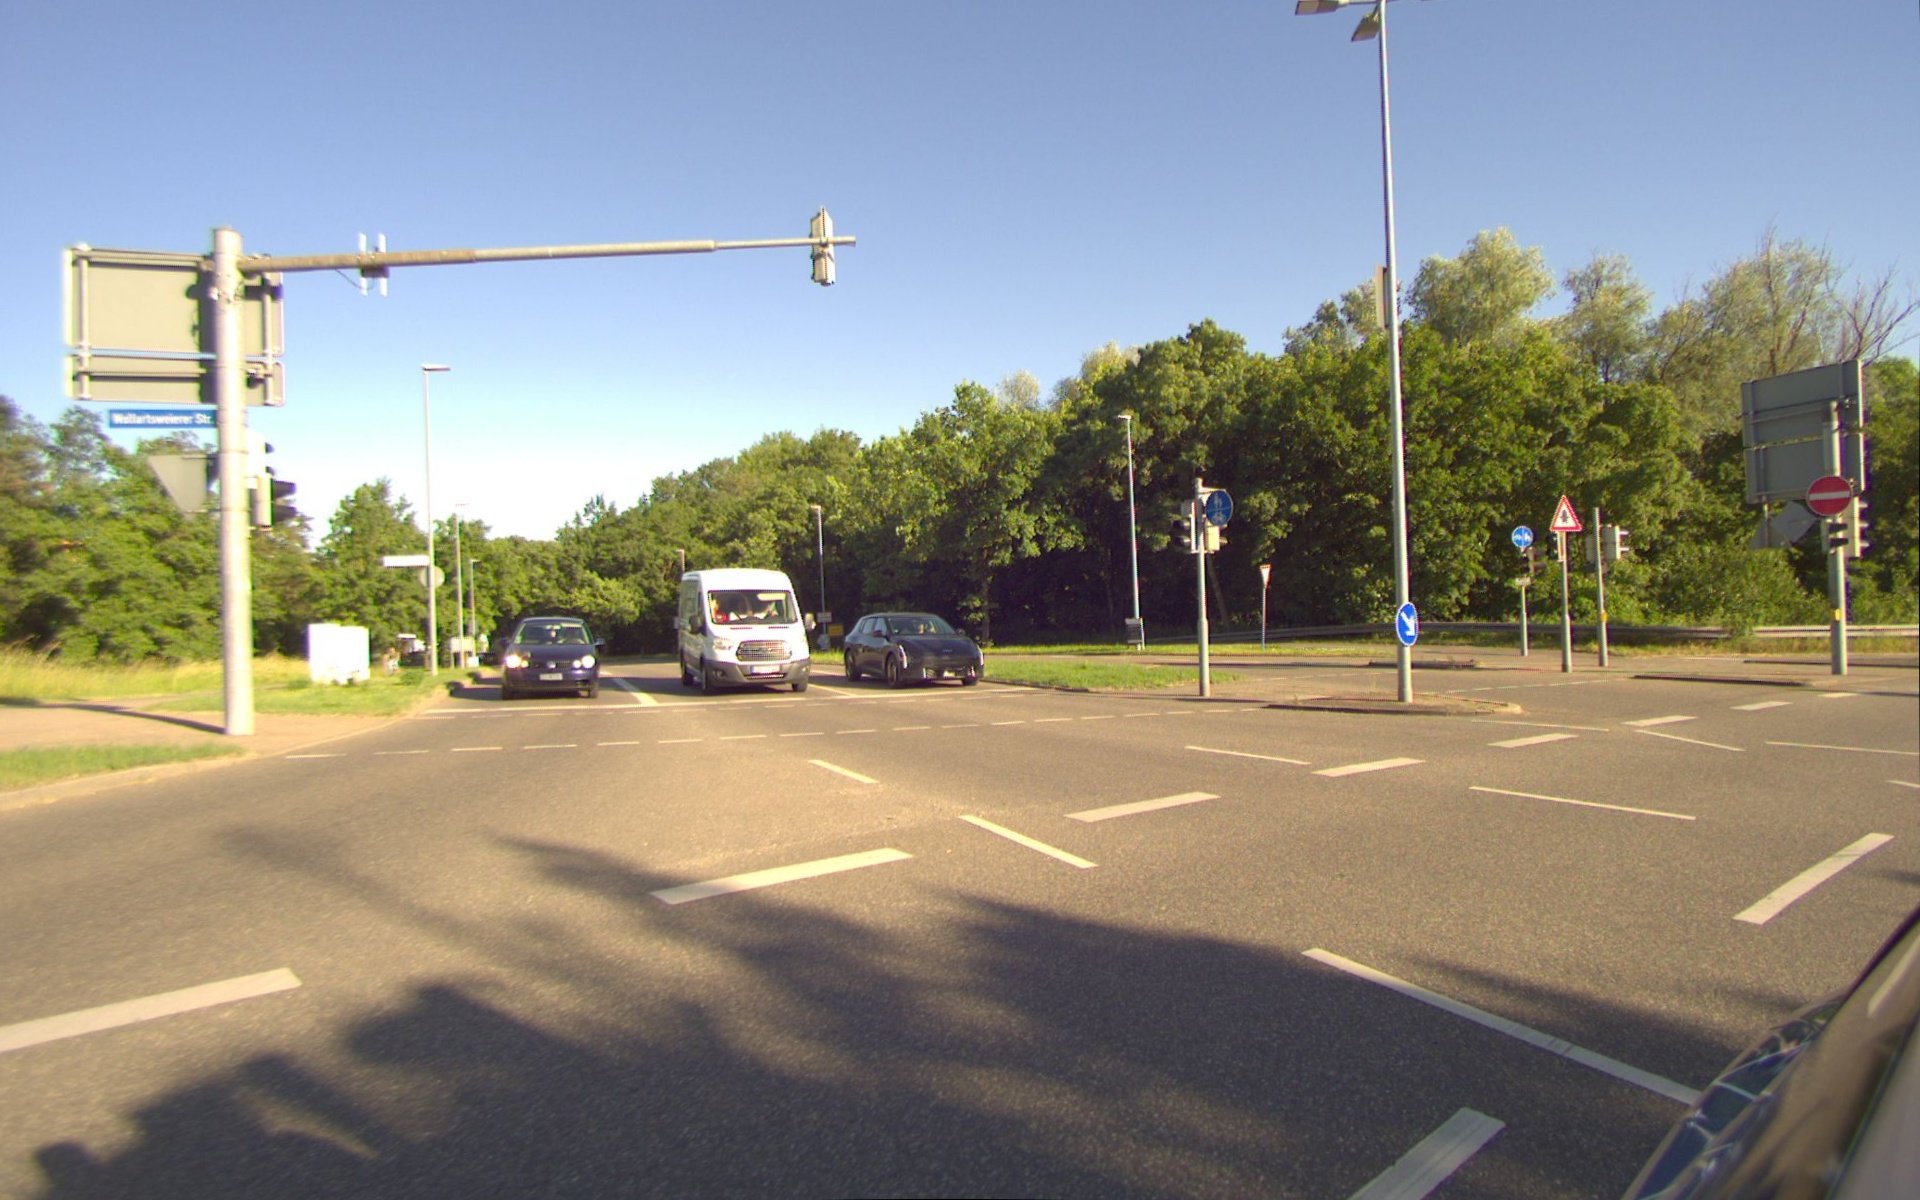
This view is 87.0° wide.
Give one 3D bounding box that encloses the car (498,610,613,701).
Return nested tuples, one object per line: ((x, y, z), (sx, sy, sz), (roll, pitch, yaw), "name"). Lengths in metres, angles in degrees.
((-7.549, 0.940, 18.990), (1.806, 1.431, 3.996), (0, 0, -21), "car")

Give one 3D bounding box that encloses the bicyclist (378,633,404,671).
((-31.657, 2.892, 56.313), (1.168, 2.040, 0.878), (0, -2, -21), "bicyclist")

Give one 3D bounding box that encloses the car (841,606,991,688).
((-1.034, 0.898, 21.095), (1.733, 1.458, 4.096), (0, 0, -24), "car")

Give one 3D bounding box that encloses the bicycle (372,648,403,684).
((-31.879, 3.699, 56.399), (1.159, 1.887, 3.466), (0, -4, -23), "bicycle")

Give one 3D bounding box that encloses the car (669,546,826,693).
((-4.470, 0.399, 20.454), (2.071, 2.531, 5.715), (0, -1, -22), "car")
